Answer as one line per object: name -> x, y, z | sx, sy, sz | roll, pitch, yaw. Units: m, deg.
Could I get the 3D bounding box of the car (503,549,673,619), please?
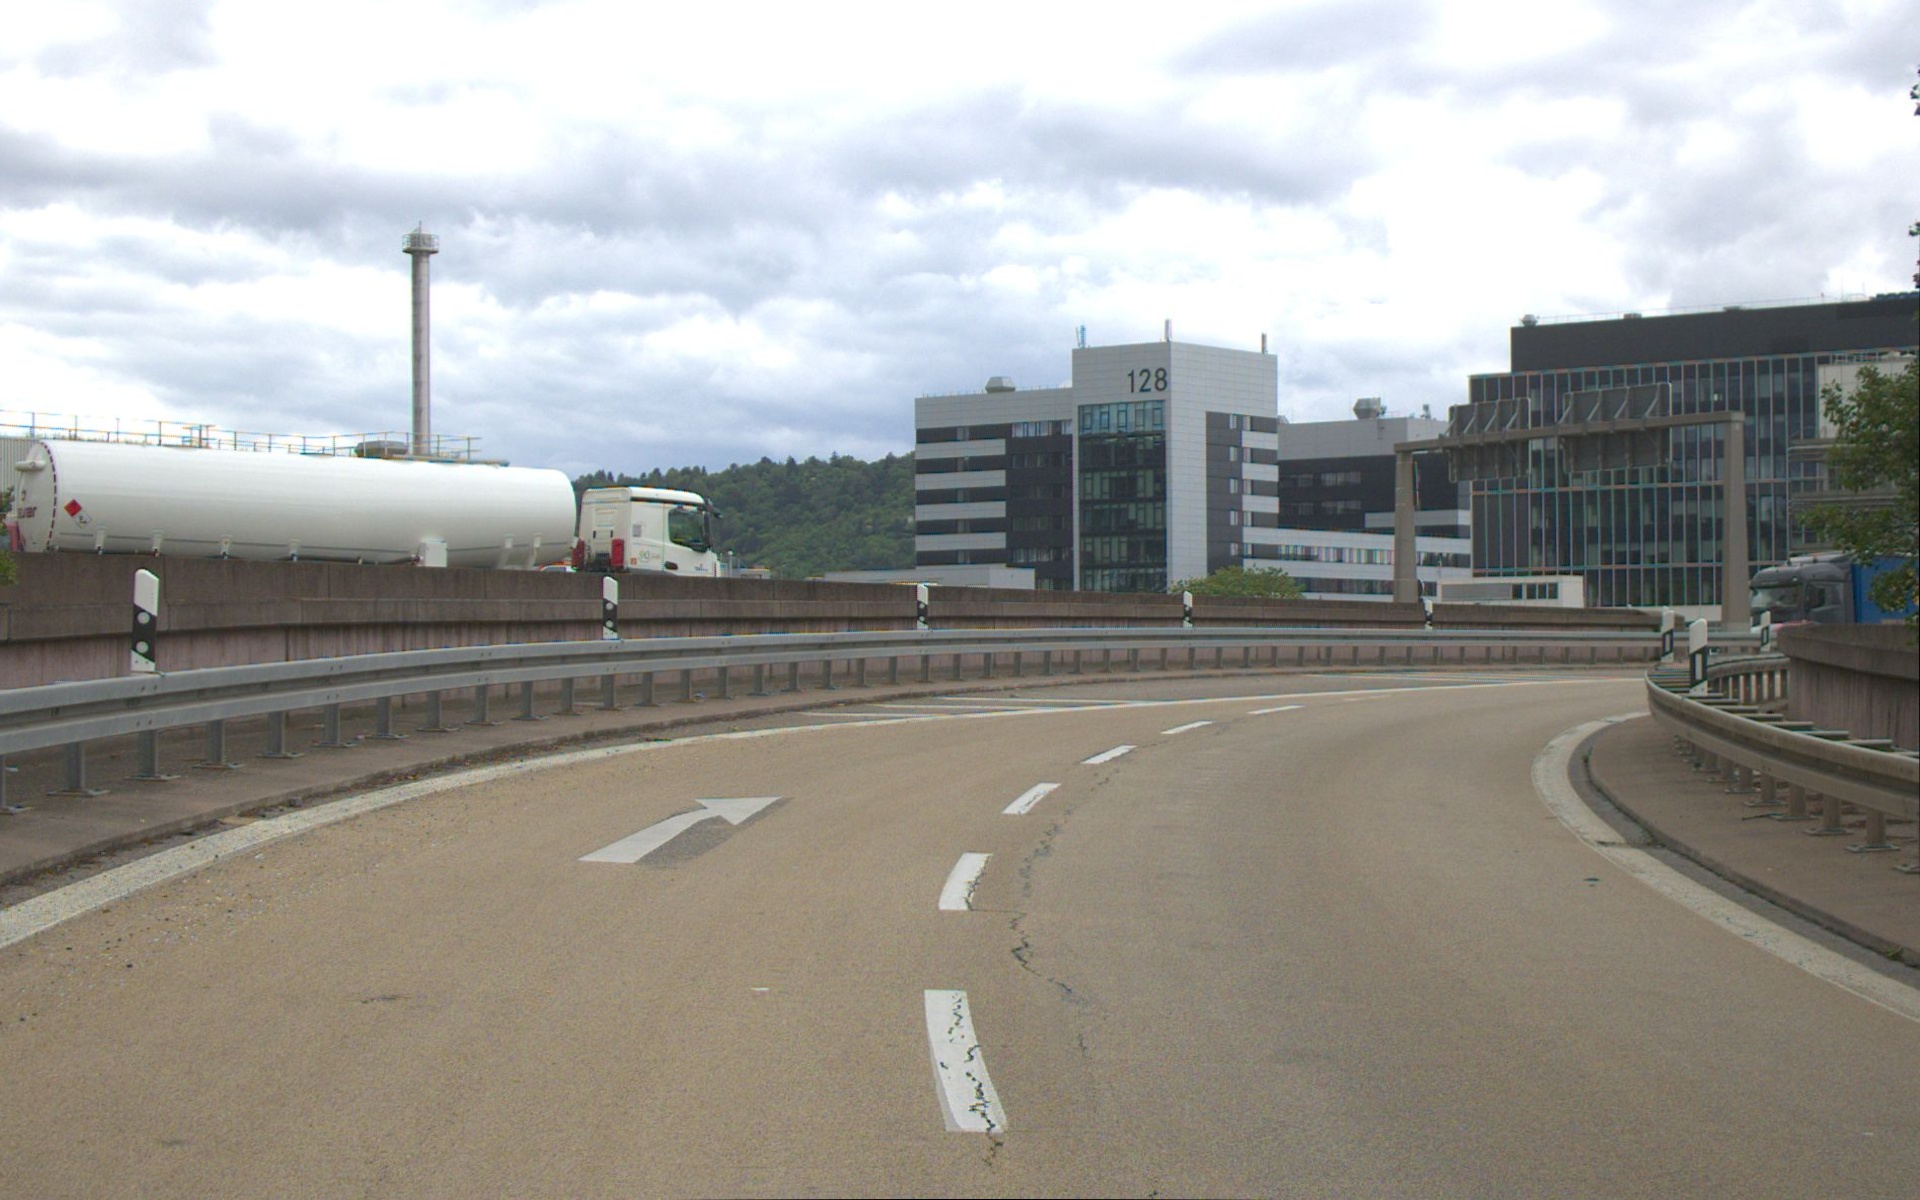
car -> -8.928, -0.381, 82.611 | 3.638, 1.513, 1.689 | 1, 3, -31

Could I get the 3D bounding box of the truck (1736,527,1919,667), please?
truck -> 28.093, -0.044, 110.161 | 5.675, 4.332, 3.171 | 1, -1, -32

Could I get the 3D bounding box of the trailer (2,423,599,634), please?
trailer -> -12.610, -1.256, 66.614 | 11.119, 3.725, 2.801 | 1, -1, -34

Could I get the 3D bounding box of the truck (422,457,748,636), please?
truck -> -7.603, -1.021, 69.942 | 5.945, 3.419, 2.778 | 1, -1, -34

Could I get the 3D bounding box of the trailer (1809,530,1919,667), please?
trailer -> 33.716, 0.058, 113.704 | 12.476, 4.332, 3.171 | 1, -1, -32
